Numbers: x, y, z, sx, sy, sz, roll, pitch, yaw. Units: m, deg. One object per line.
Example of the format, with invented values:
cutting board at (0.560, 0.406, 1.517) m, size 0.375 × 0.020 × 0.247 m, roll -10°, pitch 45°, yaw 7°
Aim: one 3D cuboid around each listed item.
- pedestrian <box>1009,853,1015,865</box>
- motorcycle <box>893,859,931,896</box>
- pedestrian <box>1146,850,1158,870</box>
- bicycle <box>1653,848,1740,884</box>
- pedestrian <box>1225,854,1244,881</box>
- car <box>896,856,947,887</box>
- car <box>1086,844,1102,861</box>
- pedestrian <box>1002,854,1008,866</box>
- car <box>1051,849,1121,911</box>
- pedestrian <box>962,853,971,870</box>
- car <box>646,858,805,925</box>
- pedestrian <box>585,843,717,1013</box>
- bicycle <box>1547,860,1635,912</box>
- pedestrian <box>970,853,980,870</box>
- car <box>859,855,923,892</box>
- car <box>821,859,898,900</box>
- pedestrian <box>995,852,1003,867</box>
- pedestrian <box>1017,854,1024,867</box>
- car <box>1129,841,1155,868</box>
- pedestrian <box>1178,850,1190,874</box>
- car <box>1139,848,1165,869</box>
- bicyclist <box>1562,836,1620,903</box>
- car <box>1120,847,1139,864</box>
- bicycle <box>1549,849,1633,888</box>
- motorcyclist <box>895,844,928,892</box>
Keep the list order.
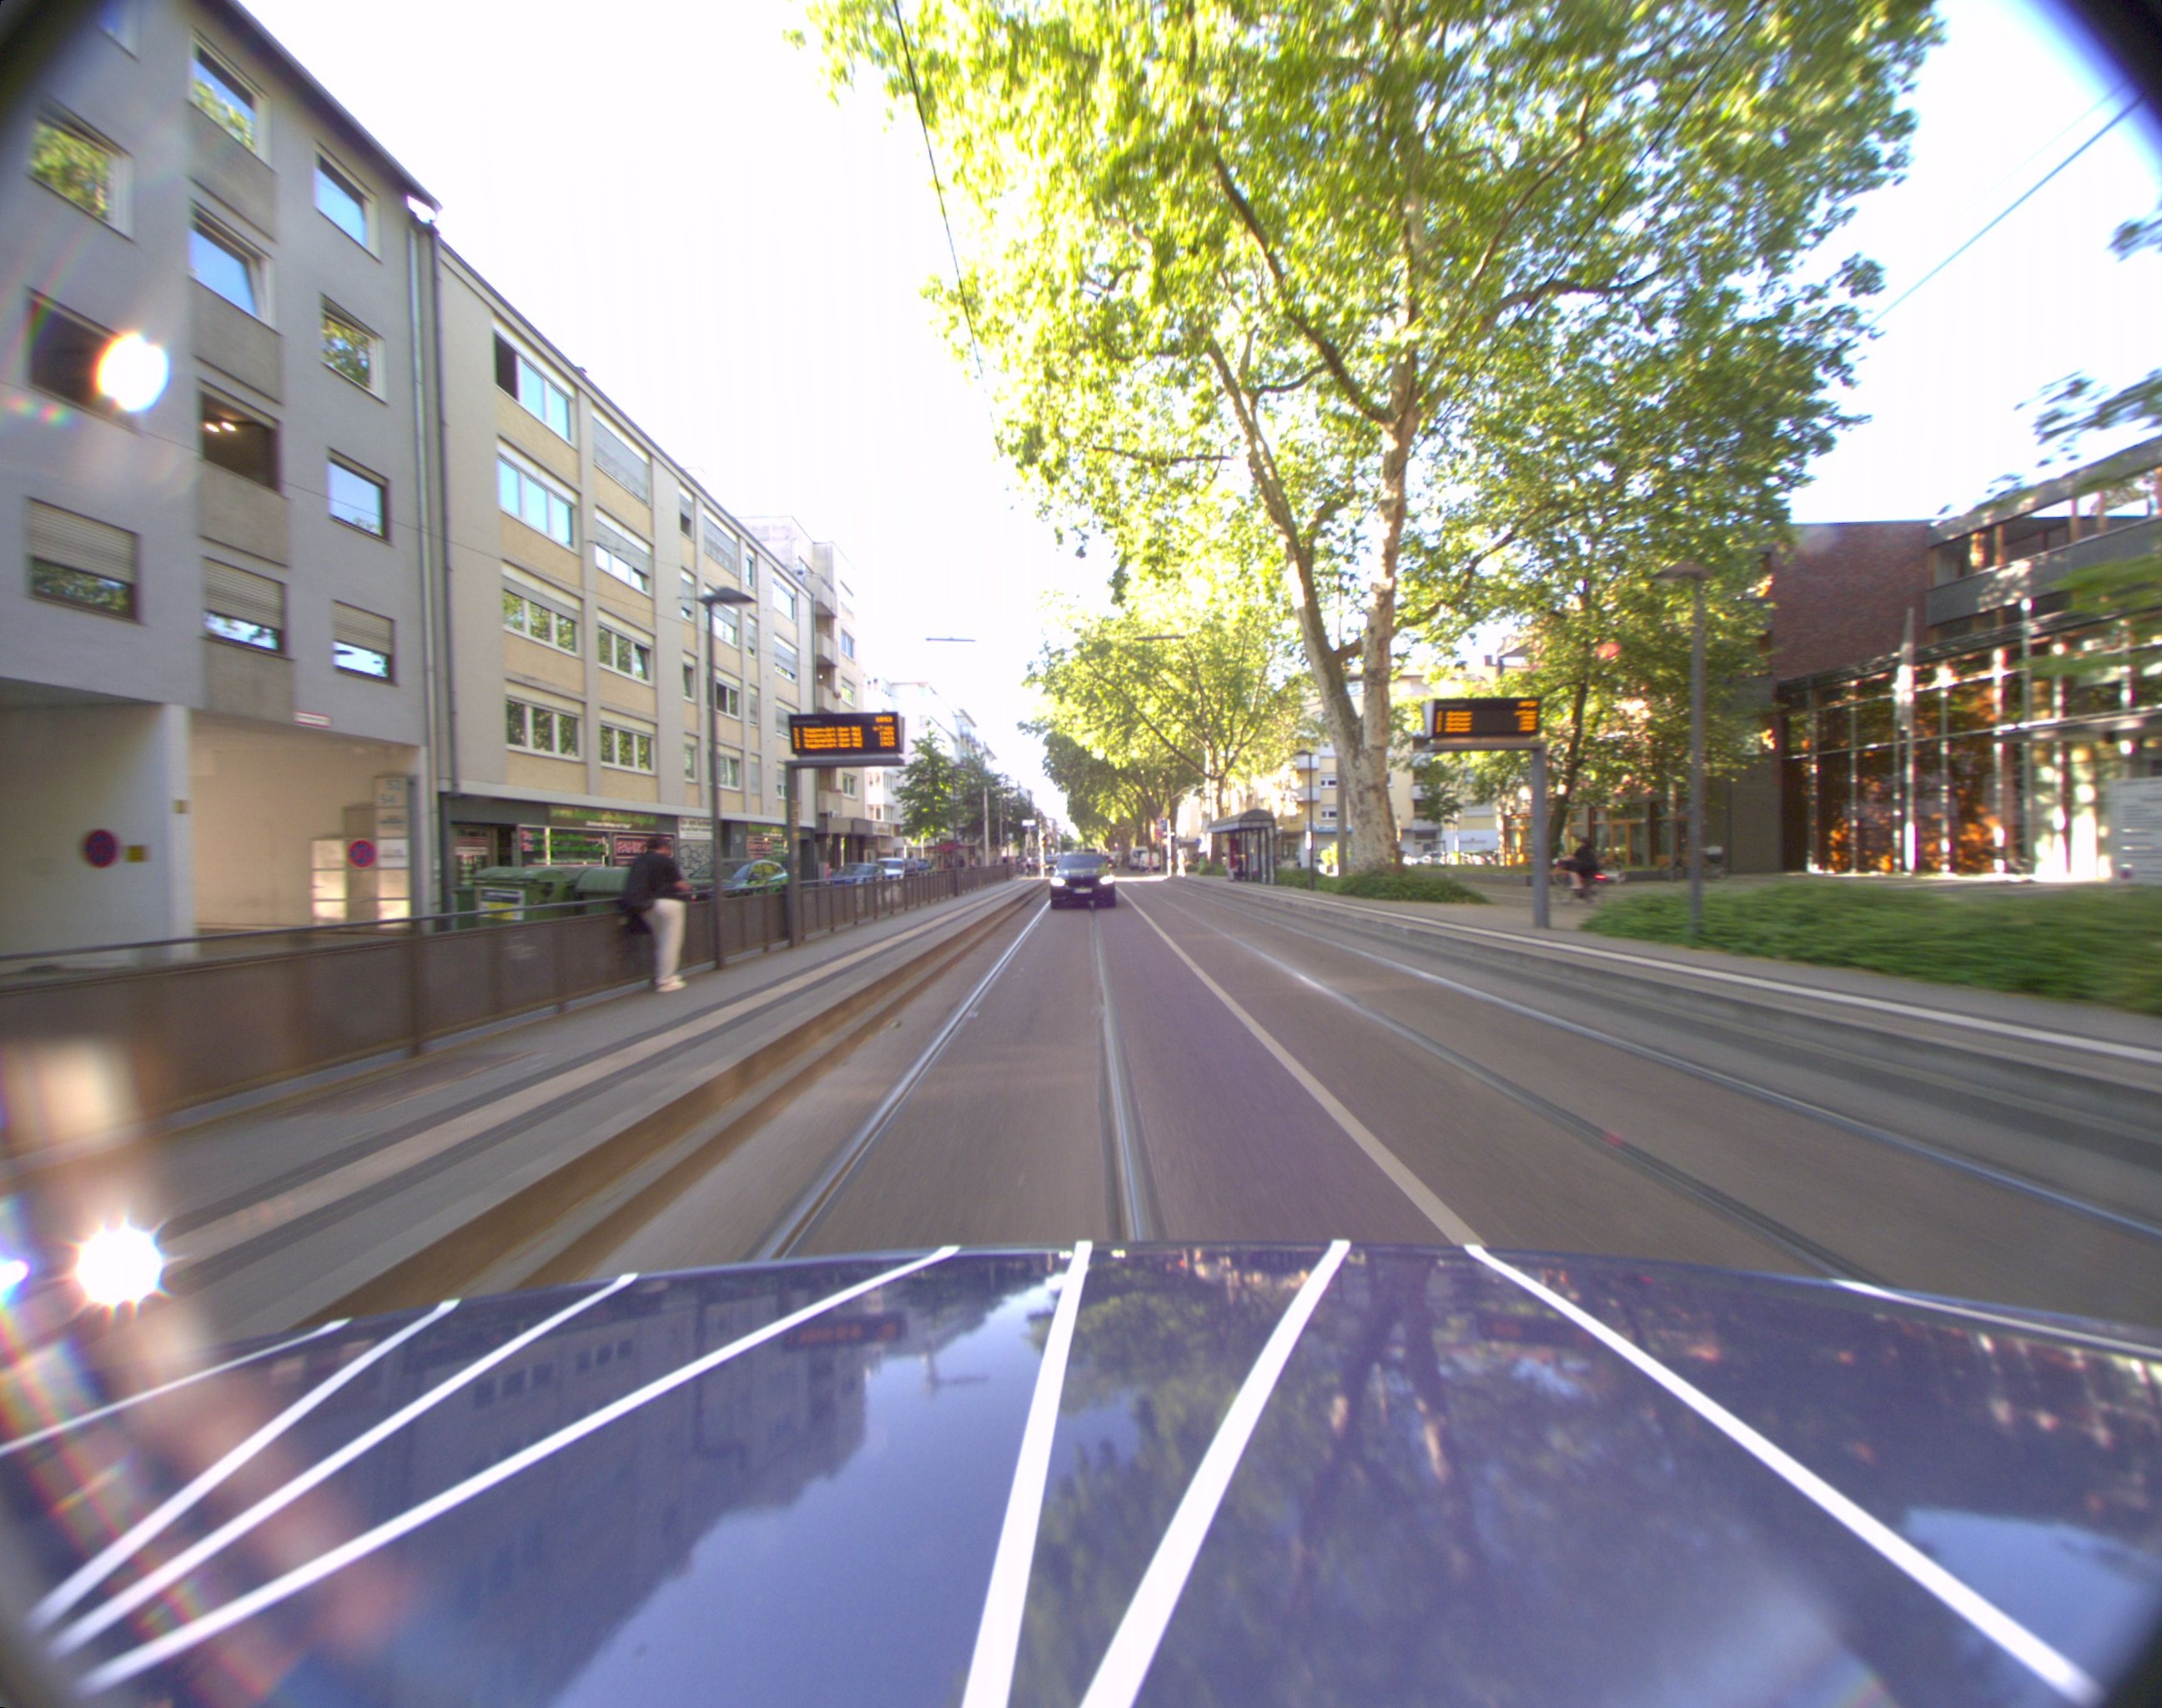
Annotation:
pedestrian at (-9.791, 0.749, 107.545) m, size 0.685 × 1.645 × 0.836 m, roll -2°, pitch 1°, yaw -1°
motorcycle at (-7.310, 0.993, 32.927) m, size 1.054 × 1.446 × 2.208 m, roll -2°, pitch 1°, yaw 1°
pedestrian at (6.110, 0.534, 65.348) m, size 0.970 × 1.645 × 0.685 m, roll -2°, pitch 1°, yaw 2°
bicycle at (20.028, 0.399, 24.754) m, size 0.823 × 1.088 × 2.033 m, roll -3°, pitch 1°, yaw -37°
pedestrian at (6.788, 0.594, 33.640) m, size 0.708 × 1.197 × 0.473 m, roll -2°, pitch 1°, yaw 2°
car at (-9.200, 0.987, 44.172) m, size 1.998 × 1.583 × 4.000 m, roll -2°, pitch 1°, yaw 1°
car at (1.810, -0.230, 110.972) m, size 2.142 × 2.274 × 4.965 m, roll -3°, pitch 1°, yaw 0°
pedestrian at (-10.746, 0.787, 107.482) m, size 0.685 × 1.645 × 0.836 m, roll -2°, pitch 1°, yaw -1°
car at (0.123, 0.742, 24.591) m, size 1.937 × 1.718 × 5.072 m, roll -3°, pitch 1°, yaw -1°
pedestrian at (-11.349, 0.742, 75.283) m, size 0.752 × 1.645 × 0.970 m, roll -2°, pitch 1°, yaw -1°
car at (-9.574, 0.934, 20.983) m, size 1.958 × 1.474 × 4.660 m, roll -3°, pitch 1°, yaw 3°
pedestrian at (-4.229, 0.695, 7.519) m, size 0.648 × 1.567 × 0.855 m, roll -2°, pitch 1°, yaw 18°
bicycle at (11.864, 0.719, 17.779) m, size 0.748 × 1.088 × 2.039 m, roll -2°, pitch 1°, yaw 3°
pedestrian at (-10.188, 0.714, 73.195) m, size 0.752 × 1.645 × 0.970 m, roll -2°, pitch 1°, yaw -1°
car at (-9.125, 0.919, 36.881) m, size 1.998 × 1.572 × 4.000 m, roll -2°, pitch 1°, yaw 1°
car at (-9.138, 1.012, 31.691) m, size 1.899 × 1.477 × 4.000 m, roll -2°, pitch 1°, yaw 1°
pedestrian at (-8.927, 0.578, 82.695) m, size 0.752 × 1.645 × 0.970 m, roll -2°, pitch 1°, yaw -1°
pedestrian at (-7.403, 0.780, 93.479) m, size 0.752 × 1.645 × 0.970 m, roll -2°, pitch 1°, yaw -1°
car at (6.797, 0.046, 85.604) m, size 2.429 × 2.833 × 5.072 m, roll -3°, pitch 1°, yaw 0°
pedestrian at (6.942, 0.549, 51.281) m, size 0.708 × 1.585 × 0.561 m, roll -2°, pitch 1°, yaw 2°
car at (6.977, 0.446, 75.427) m, size 2.041 × 1.881 × 5.072 m, roll -3°, pitch 1°, yaw 0°
bicyclist at (11.843, 0.350, 17.681) m, size 0.735 × 1.506 × 0.892 m, roll -2°, pitch 1°, yaw 3°
car at (6.571, 0.174, 103.589) m, size 2.142 × 2.274 × 4.965 m, roll -3°, pitch 1°, yaw 0°
bicycle at (16.726, 0.464, 24.971) m, size 2.098 × 1.182 × 0.882 m, roll -2°, pitch 1°, yaw 17°
motorcyclist at (-7.334, 0.599, 32.889) m, size 1.054 × 2.002 × 1.178 m, roll -2°, pitch 1°, yaw 1°
